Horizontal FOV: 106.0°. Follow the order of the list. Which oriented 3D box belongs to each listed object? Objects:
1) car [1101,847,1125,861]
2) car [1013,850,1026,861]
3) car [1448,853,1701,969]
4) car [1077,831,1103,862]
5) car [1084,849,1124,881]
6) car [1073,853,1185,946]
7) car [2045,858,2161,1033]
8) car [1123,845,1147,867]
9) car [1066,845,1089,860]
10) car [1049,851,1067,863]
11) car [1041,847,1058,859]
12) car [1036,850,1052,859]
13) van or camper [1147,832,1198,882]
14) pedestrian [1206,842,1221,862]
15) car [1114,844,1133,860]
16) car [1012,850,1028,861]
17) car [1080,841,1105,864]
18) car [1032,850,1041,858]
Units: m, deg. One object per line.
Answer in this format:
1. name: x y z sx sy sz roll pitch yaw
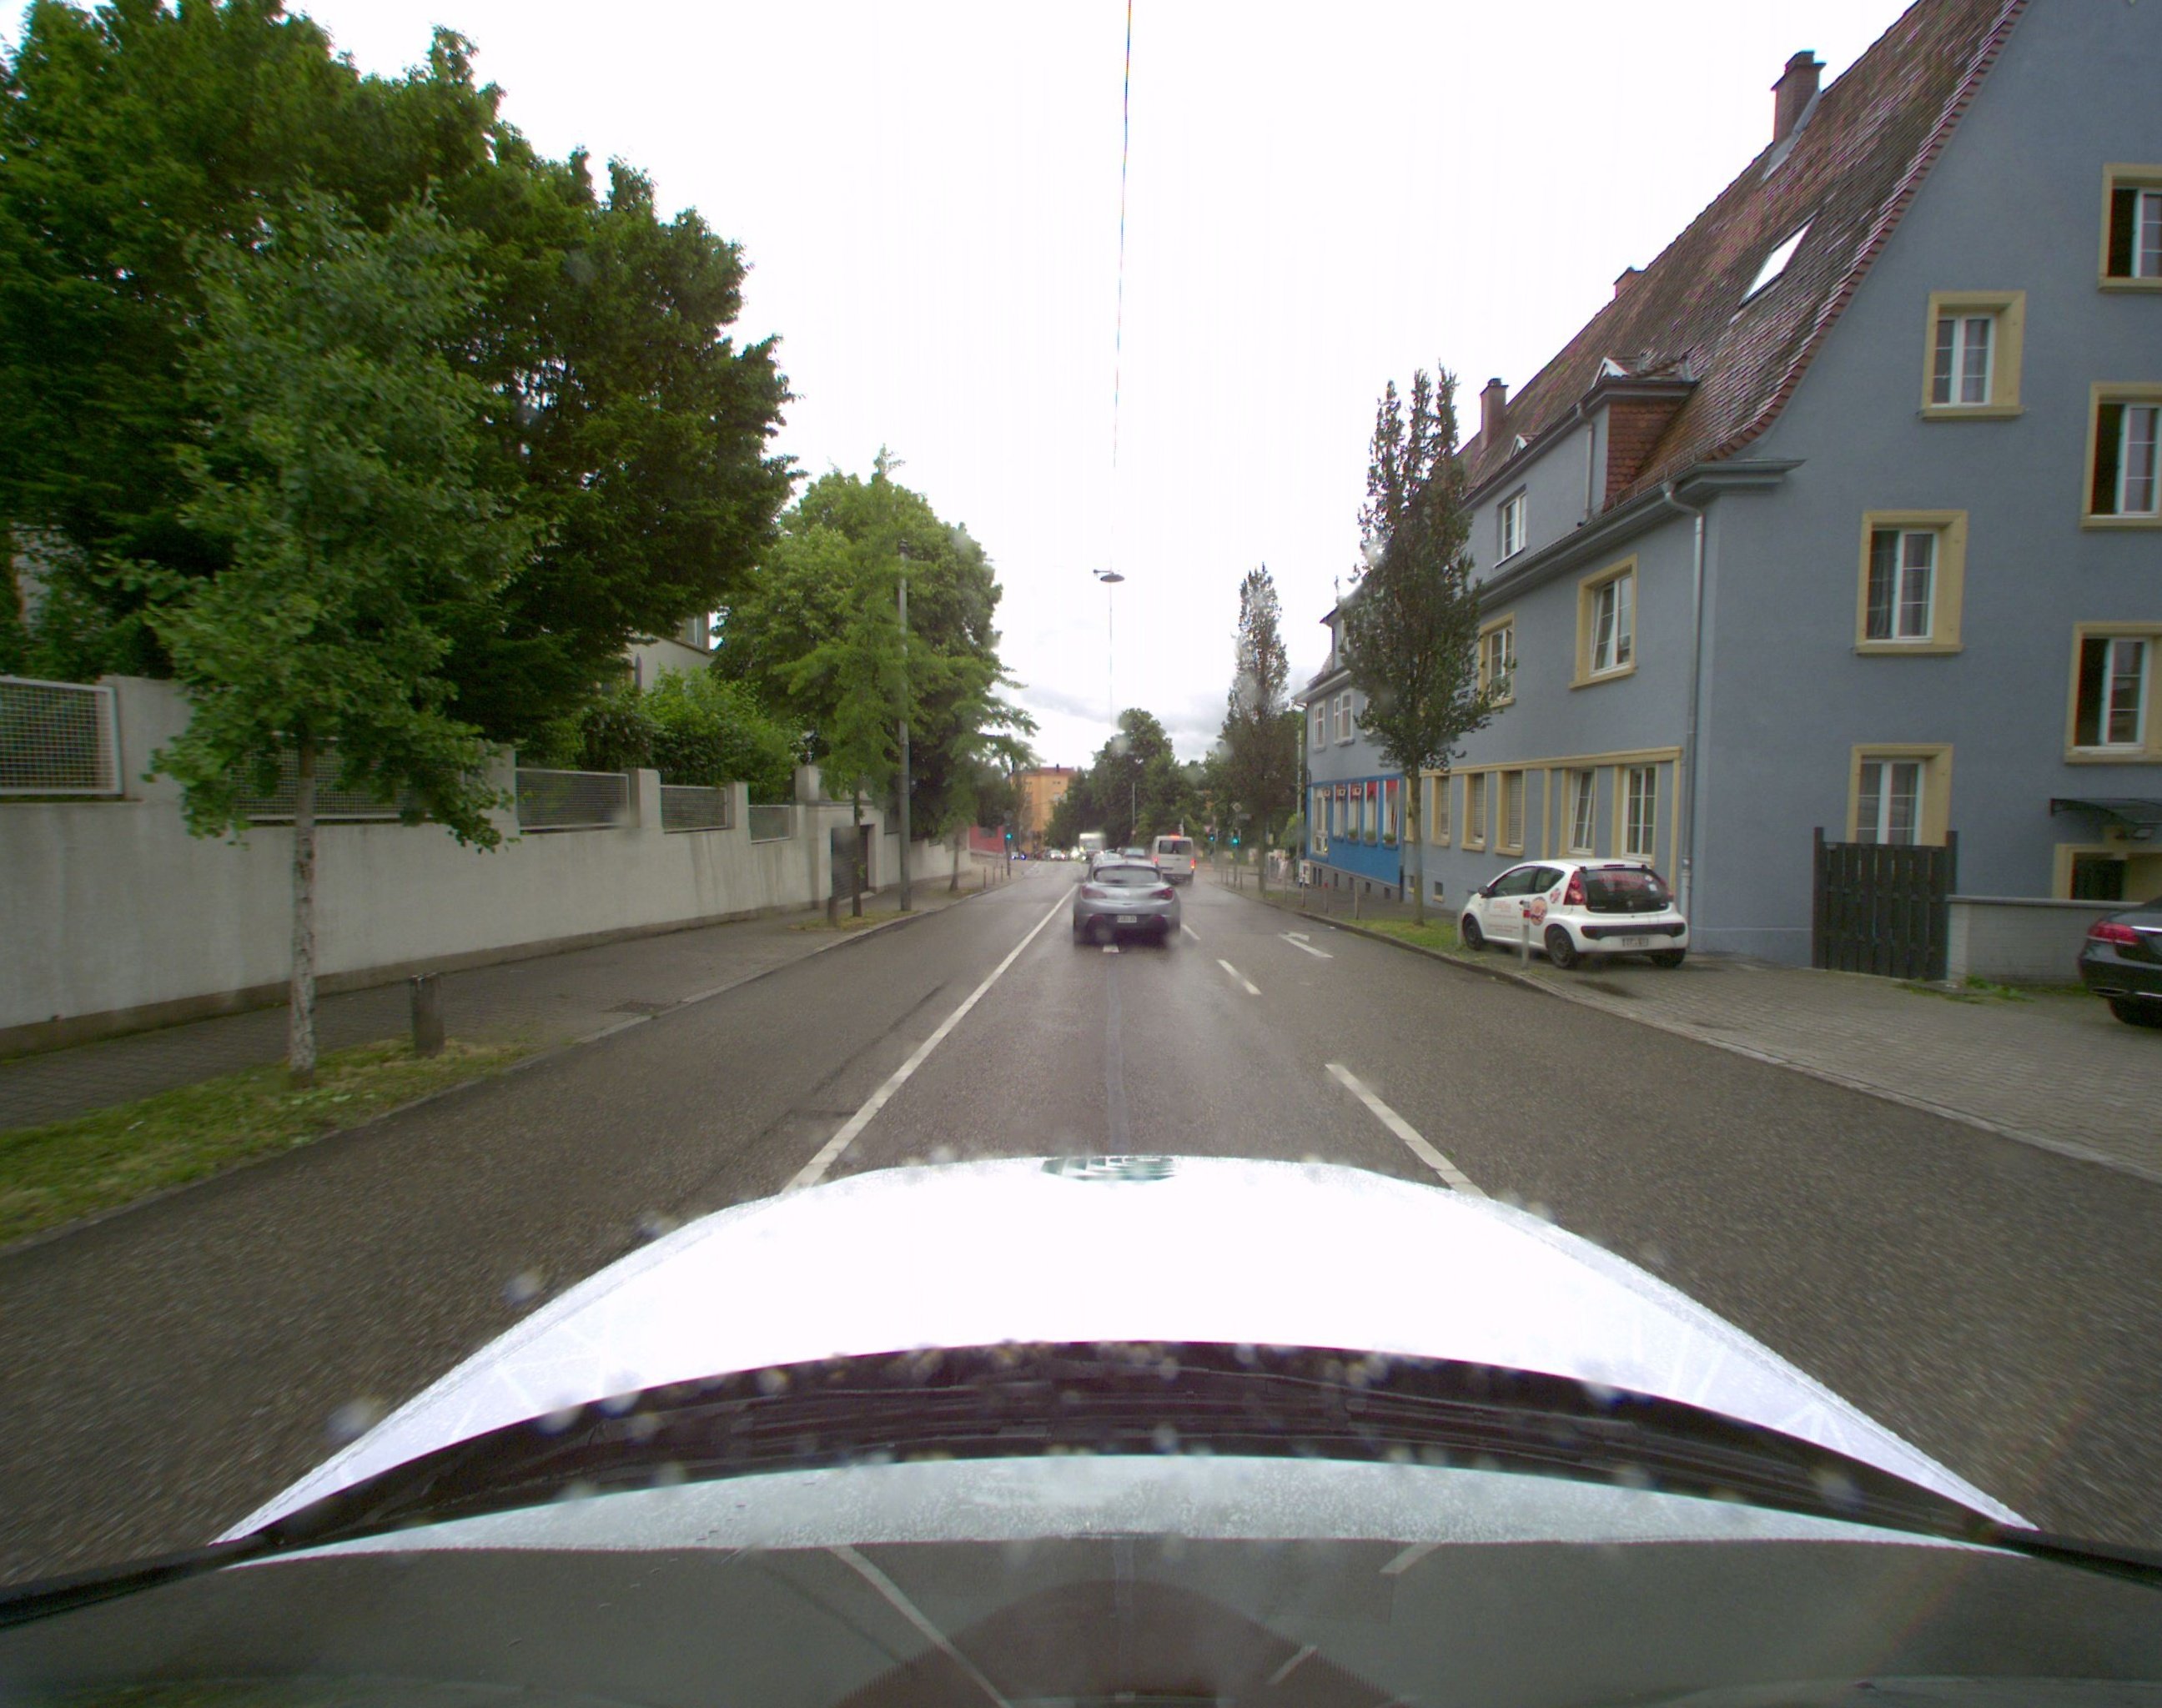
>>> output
1. car: 3.938 -0.031 100.764 1.817 1.495 3.981 -6 0 -14
2. car: -9.010 0.202 119.240 1.849 1.486 5.361 0 2 -3
3. car: 7.078 0.727 12.113 1.582 1.411 3.454 -2 0 -2
4. car: 0.775 -0.632 71.940 2.111 2.545 5.537 0 0 -1
5. car: 1.108 0.530 39.001 1.769 1.430 3.787 -1 -1 2
6. car: 0.846 0.732 15.233 1.808 1.429 4.002 1 1 2
7. car: 10.879 0.833 7.003 4.364 1.407 1.798 3 -1 -18
8. car: 3.627 0.119 54.981 1.378 1.411 3.456 -1 0 0
9. car: -0.405 -0.130 87.546 1.874 1.575 4.573 0 0 -8
10. car: -2.989 0.361 103.975 1.773 1.497 4.249 0 -1 -9
11. car: -4.777 -0.139 124.284 1.784 1.855 3.980 1 -1 -14
12. car: -6.454 0.128 142.508 1.819 1.467 3.977 -5 1 -17
13. van or camper: 4.501 0.136 41.033 2.096 2.326 5.420 2 0 2
14. pedestrian: 11.222 -0.156 69.129 0.769 1.605 0.958 -3 0 -24
15. car: 4.076 -0.219 78.838 1.616 1.486 3.433 0 -1 -2
16. car: -10.787 0.297 143.089 1.999 2.014 3.976 0 -1 -18
17. car: 0.842 -0.169 63.067 1.816 1.652 4.345 1 1 -1
18. car: -8.701 0.036 159.779 1.772 1.429 3.782 1 1 -3
